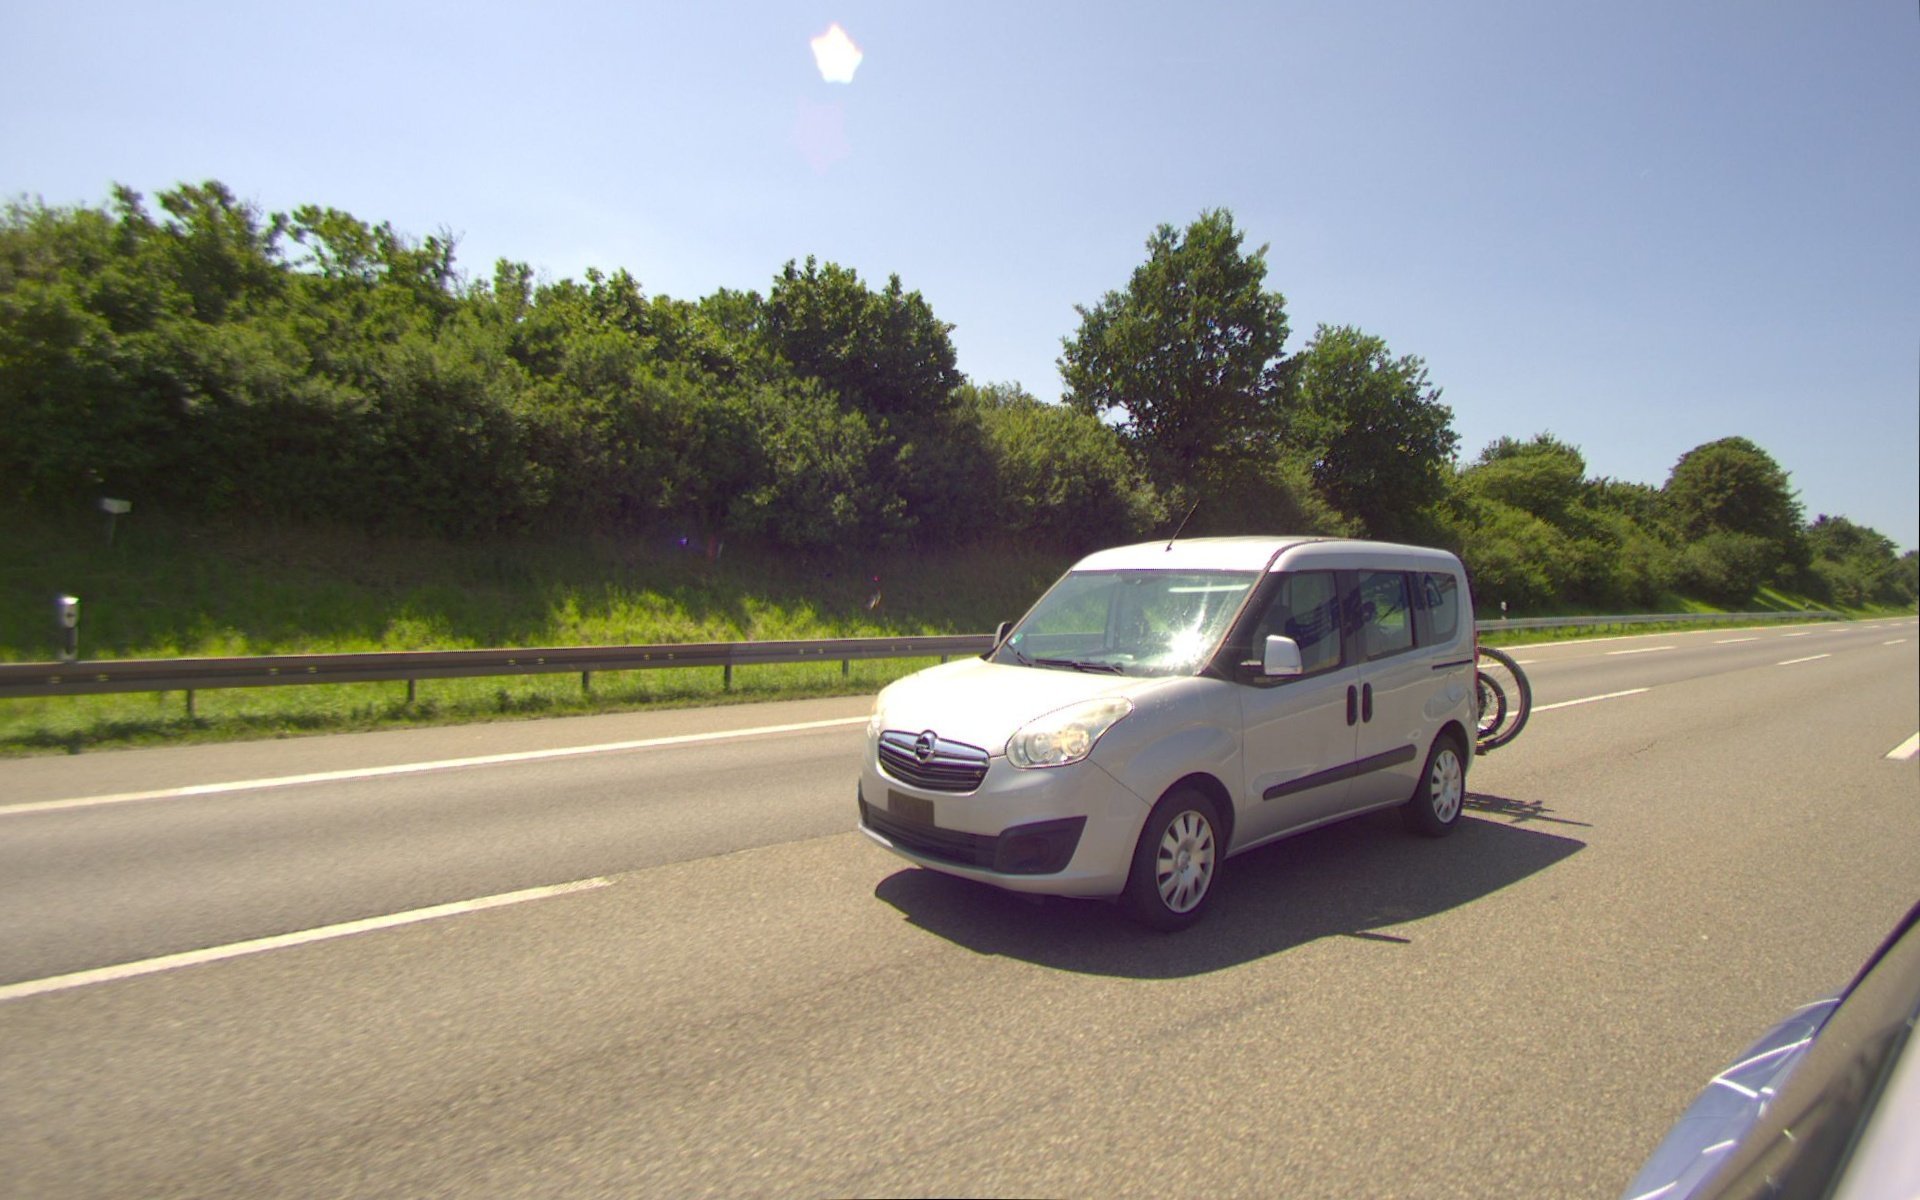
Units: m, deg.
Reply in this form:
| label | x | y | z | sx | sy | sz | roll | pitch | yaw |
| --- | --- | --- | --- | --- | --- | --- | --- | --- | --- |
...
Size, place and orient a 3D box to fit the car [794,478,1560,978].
| label | x | y | z | sx | sy | sz | roll | pitch | yaw |
| --- | --- | --- | --- | --- | --- | --- | --- | --- | --- |
| car | 1.712 | 0.462 | 6.188 | 5.219 | 1.870 | 1.810 | 0 | 1 | -41 |
